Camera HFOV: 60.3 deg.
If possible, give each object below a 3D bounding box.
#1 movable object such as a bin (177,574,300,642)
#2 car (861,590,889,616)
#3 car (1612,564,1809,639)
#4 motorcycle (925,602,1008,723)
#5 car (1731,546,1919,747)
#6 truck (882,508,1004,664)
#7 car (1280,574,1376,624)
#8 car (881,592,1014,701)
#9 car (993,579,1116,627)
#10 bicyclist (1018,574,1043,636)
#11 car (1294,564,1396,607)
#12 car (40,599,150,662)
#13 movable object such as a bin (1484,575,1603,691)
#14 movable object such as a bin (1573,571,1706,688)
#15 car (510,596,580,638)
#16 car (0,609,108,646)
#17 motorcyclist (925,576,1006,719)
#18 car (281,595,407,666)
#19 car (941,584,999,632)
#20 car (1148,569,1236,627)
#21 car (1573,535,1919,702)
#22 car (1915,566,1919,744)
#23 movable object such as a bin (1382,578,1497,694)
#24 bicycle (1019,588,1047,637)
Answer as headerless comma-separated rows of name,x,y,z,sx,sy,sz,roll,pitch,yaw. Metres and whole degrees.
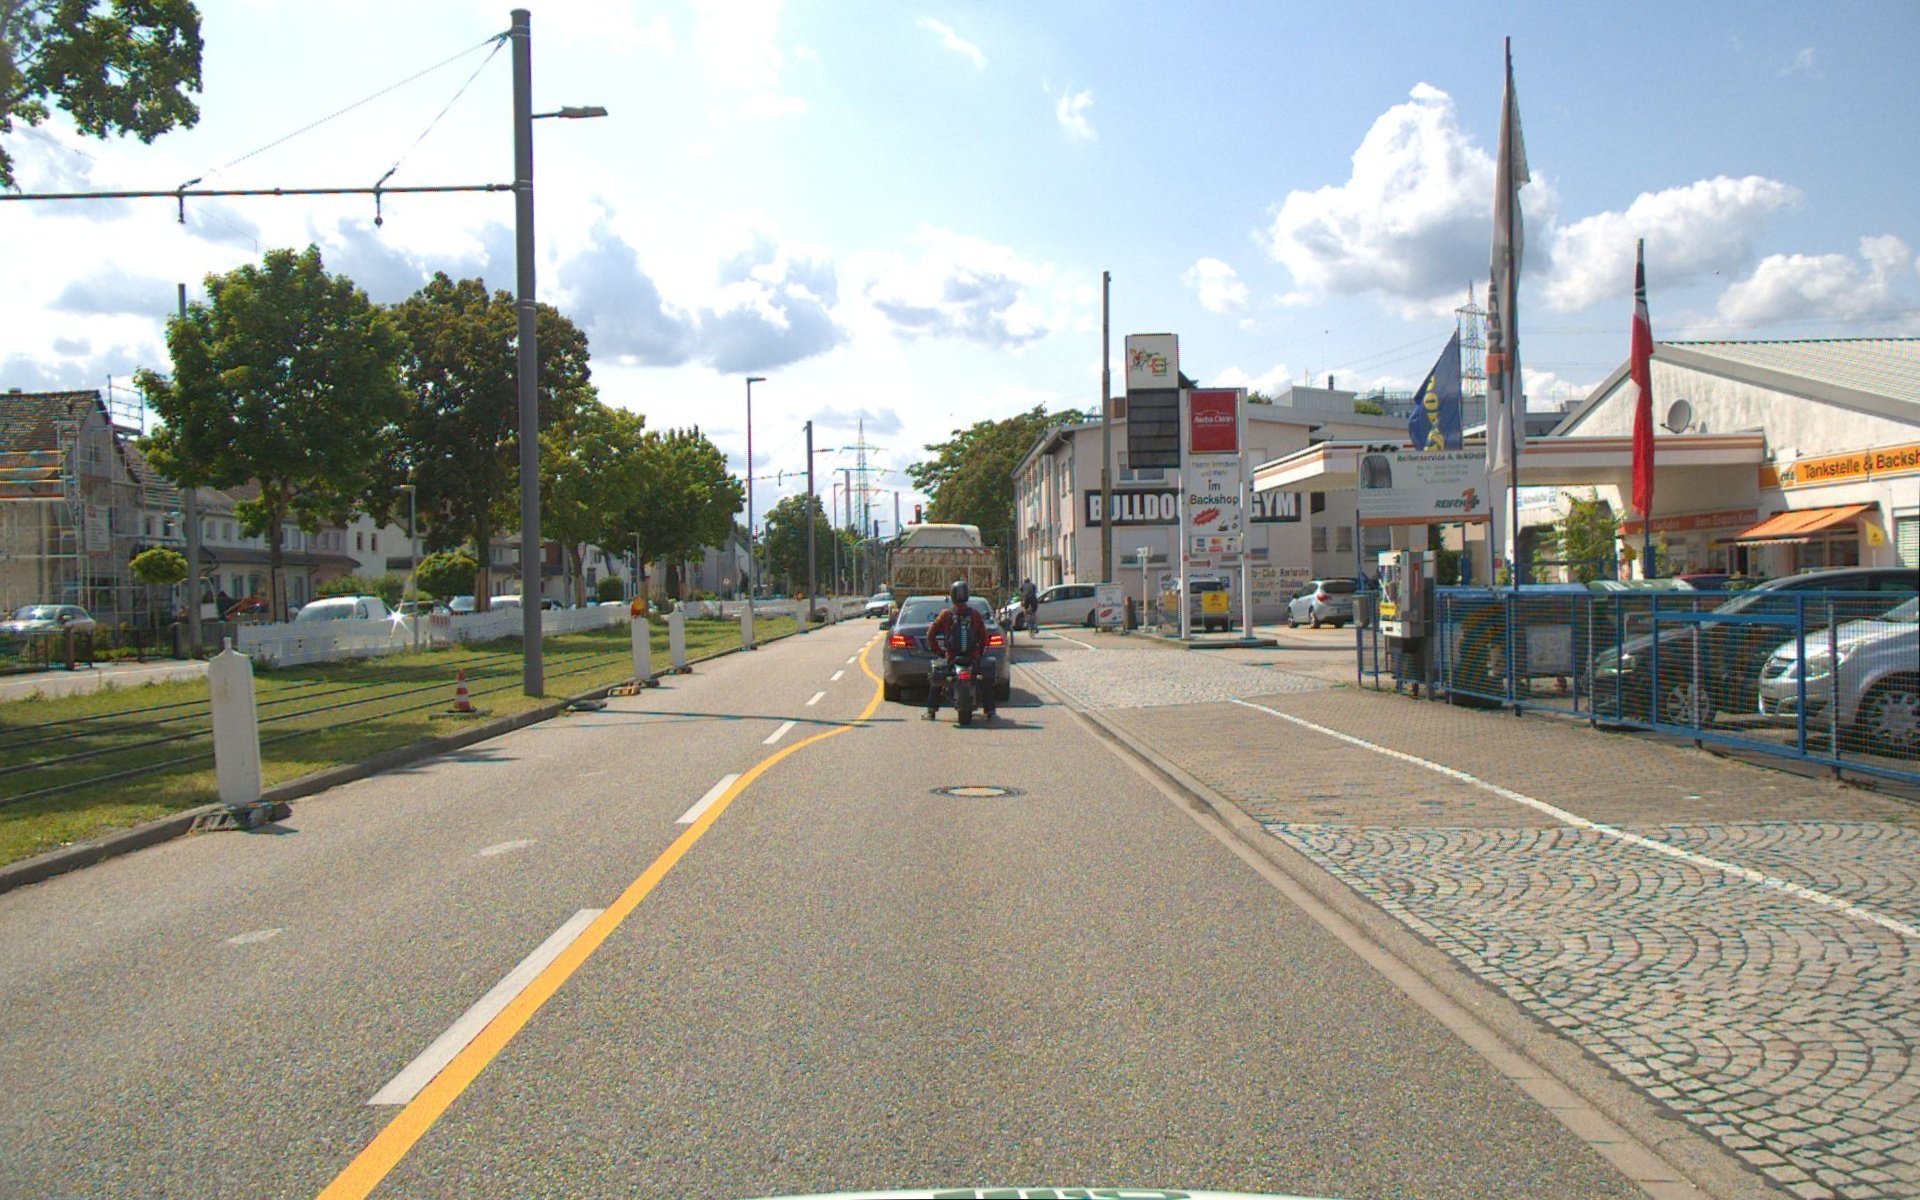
movable object such as a bin,-28.079,0.304,64.494,4.278,2.492,1.776,-2,0,-23
car,-5.217,0.167,101.050,1.622,1.472,4.300,-2,1,-3
car,15.334,0.034,33.896,3.253,1.384,1.611,-2,0,-1
motorcycle,0.045,0.704,19.980,0.920,1.343,2.644,1,0,-1
car,8.466,0.315,13.189,3.902,1.522,1.752,-2,0,14
truck,-0.404,-0.417,40.781,2.557,3.312,9.182,-2,1,0
car,11.569,-0.031,52.233,1.920,1.445,3.997,-2,0,-3
car,-0.210,0.624,24.449,1.785,1.449,3.999,-1,0,-1
car,3.538,0.111,62.017,4.251,1.579,1.946,-2,0,-10
bicyclist,2.083,0.141,48.808,0.657,1.774,0.813,-1,0,-2
car,16.731,-0.633,72.003,3.907,1.677,1.965,-2,0,-2
car,-25.666,0.876,49.184,1.650,1.752,3.029,-2,0,-1
movable object such as a bin,7.726,0.429,21.952,1.231,1.469,0.824,-2,0,-1
movable object such as a bin,9.025,0.389,22.009,1.296,1.469,0.953,-2,0,-8
car,-17.393,0.691,69.513,1.953,1.634,3.999,-2,0,-1
car,-28.833,0.858,52.229,1.650,1.071,3.981,-2,0,2
motorcyclist,0.053,0.549,19.800,0.920,1.643,1.204,1,0,-1
car,-16.724,0.805,45.097,1.953,1.780,3.999,-2,0,-1
car,0.294,0.237,53.658,1.784,1.489,4.000,-1,0,-1
car,7.160,-0.055,51.415,1.920,1.677,3.997,-2,0,-3
car,8.075,0.169,15.950,3.902,1.468,1.712,-2,0,16
car,8.655,0.391,10.663,3.902,1.379,1.822,-2,0,7
movable object such as a bin,6.376,0.470,22.031,1.231,1.469,0.824,-2,0,-1
bicycle,2.168,0.347,49.054,0.678,1.385,2.418,-2,0,0
